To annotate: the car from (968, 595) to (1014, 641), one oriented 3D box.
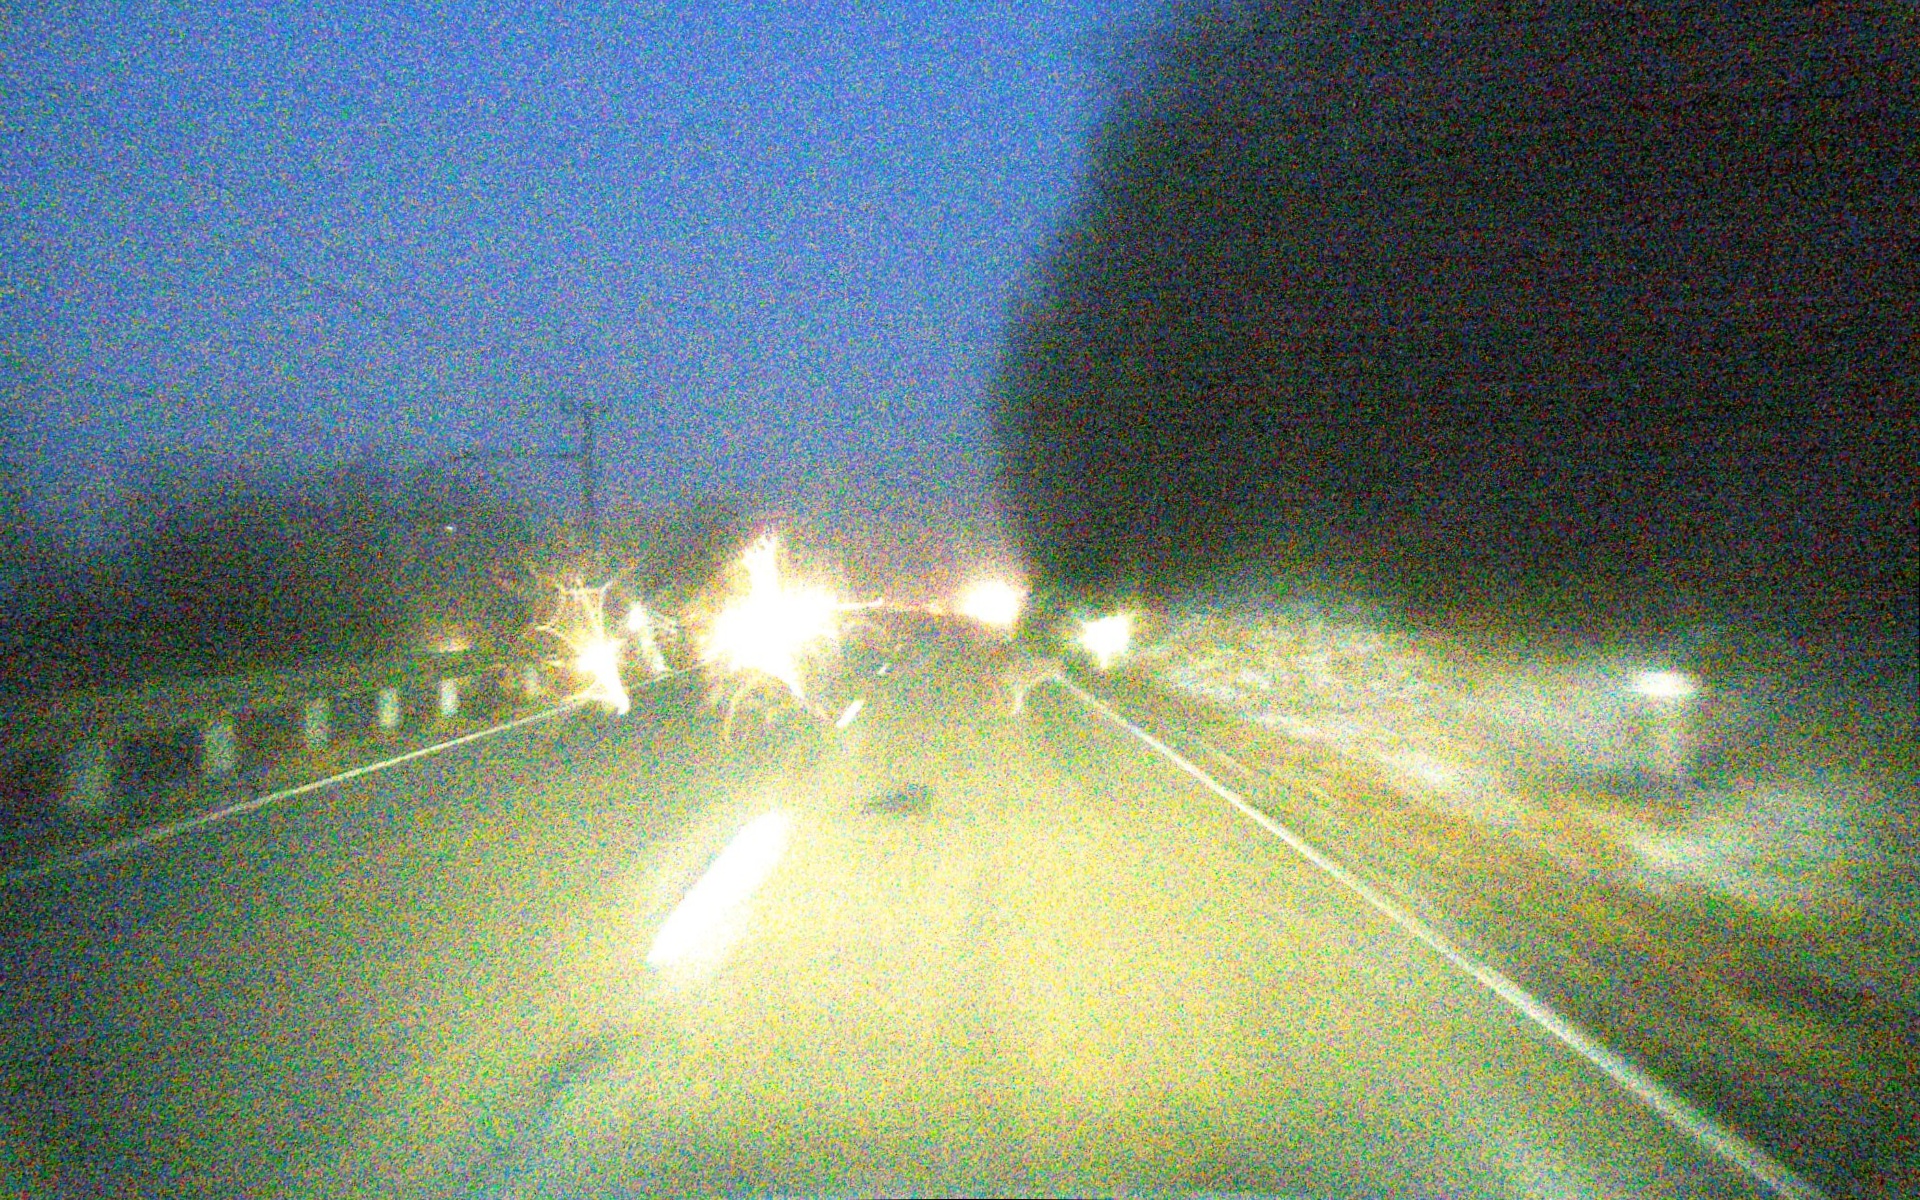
[{"bbox_3d":[1.481,0.902,80.435,2.152,2.049,4.206,1,-2,0],"label":"car"}]
